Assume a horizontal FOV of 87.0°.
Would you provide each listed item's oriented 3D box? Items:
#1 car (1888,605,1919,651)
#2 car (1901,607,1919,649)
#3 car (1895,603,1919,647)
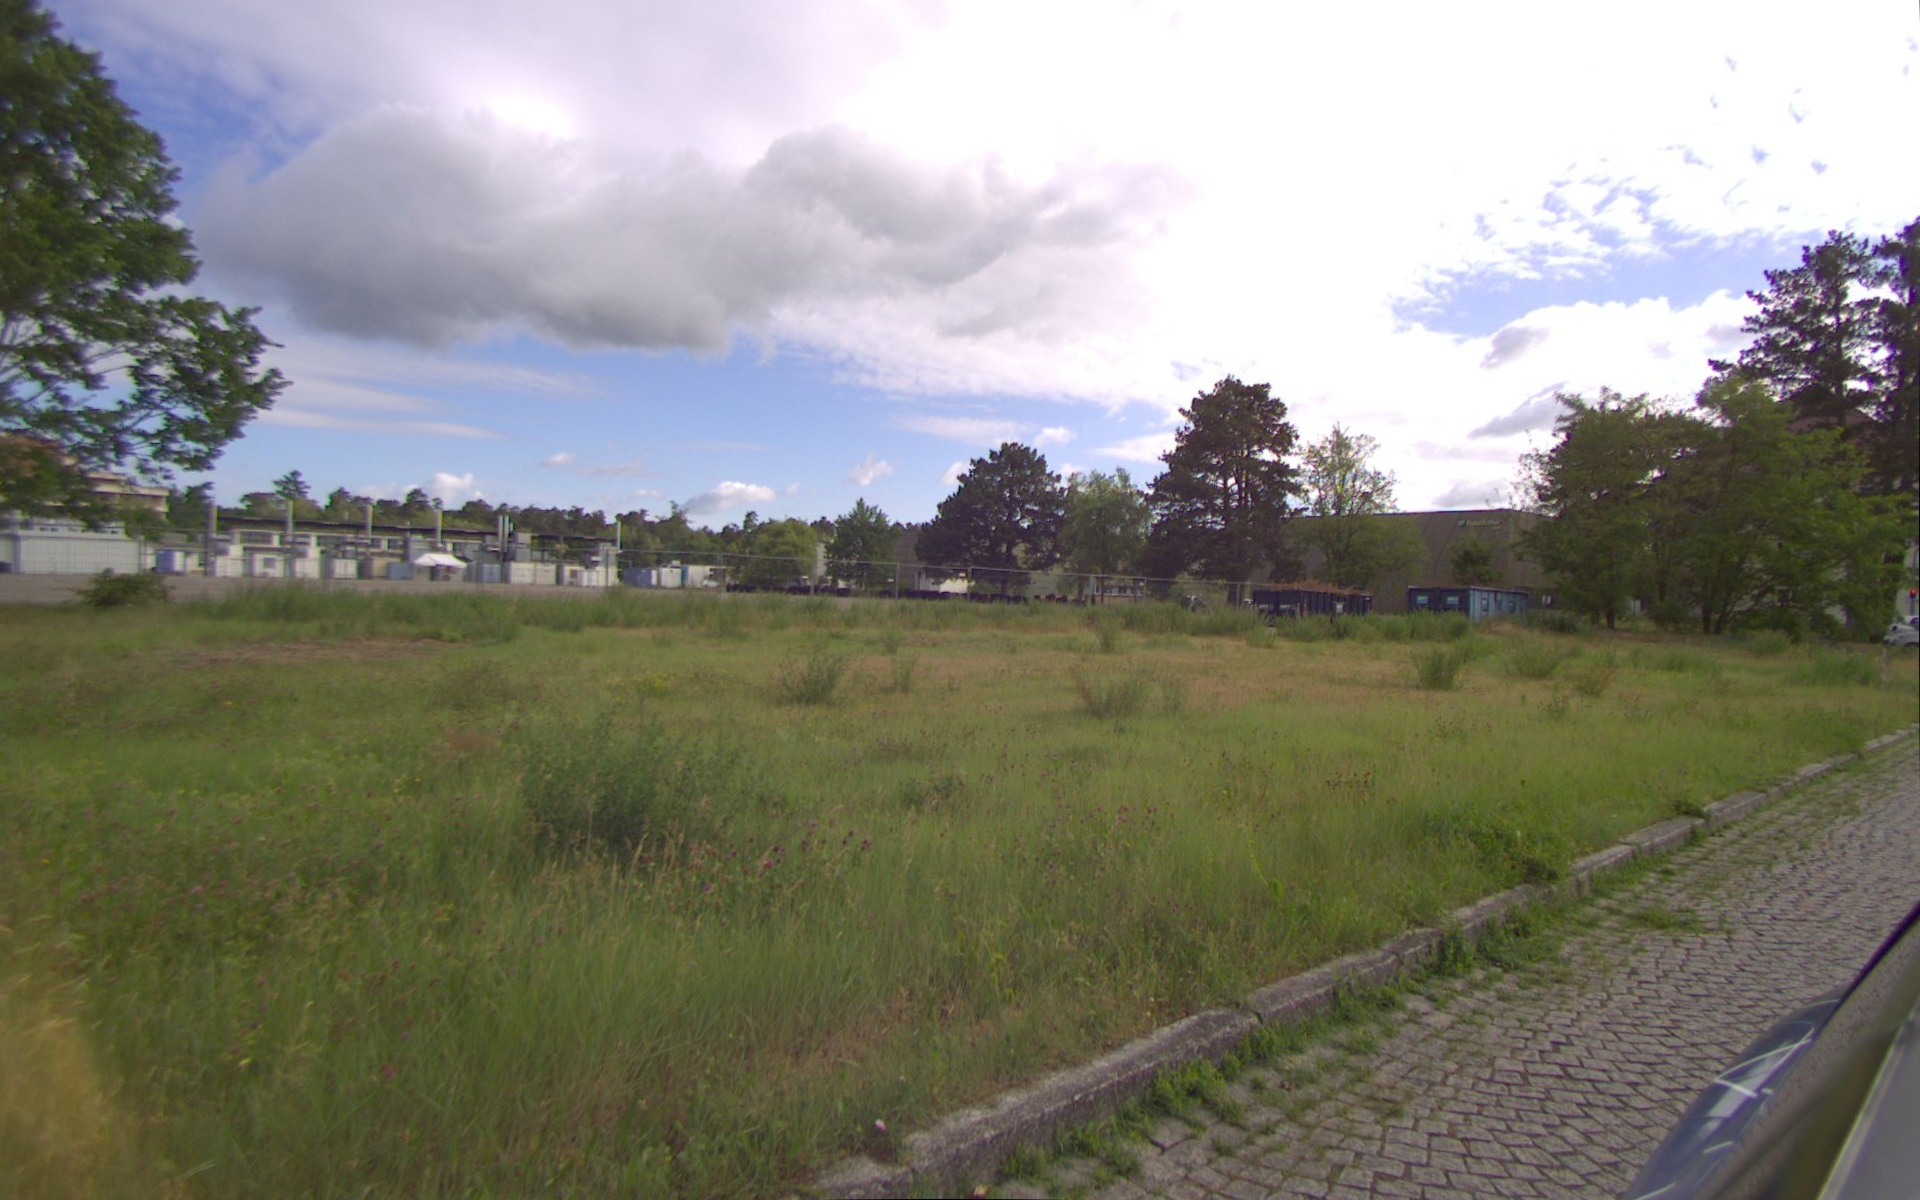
[{"bbox_3d":[34.369,1.096,34.288,1.773,1.533,4.082,1,4,-41],"label":"car"},{"bbox_3d":[36.405,1.167,36.000,1.852,1.470,4.082,1,4,-41],"label":"car"},{"bbox_3d":[38.174,1.111,38.058,1.853,1.615,4.247,1,4,-43],"label":"car"}]
